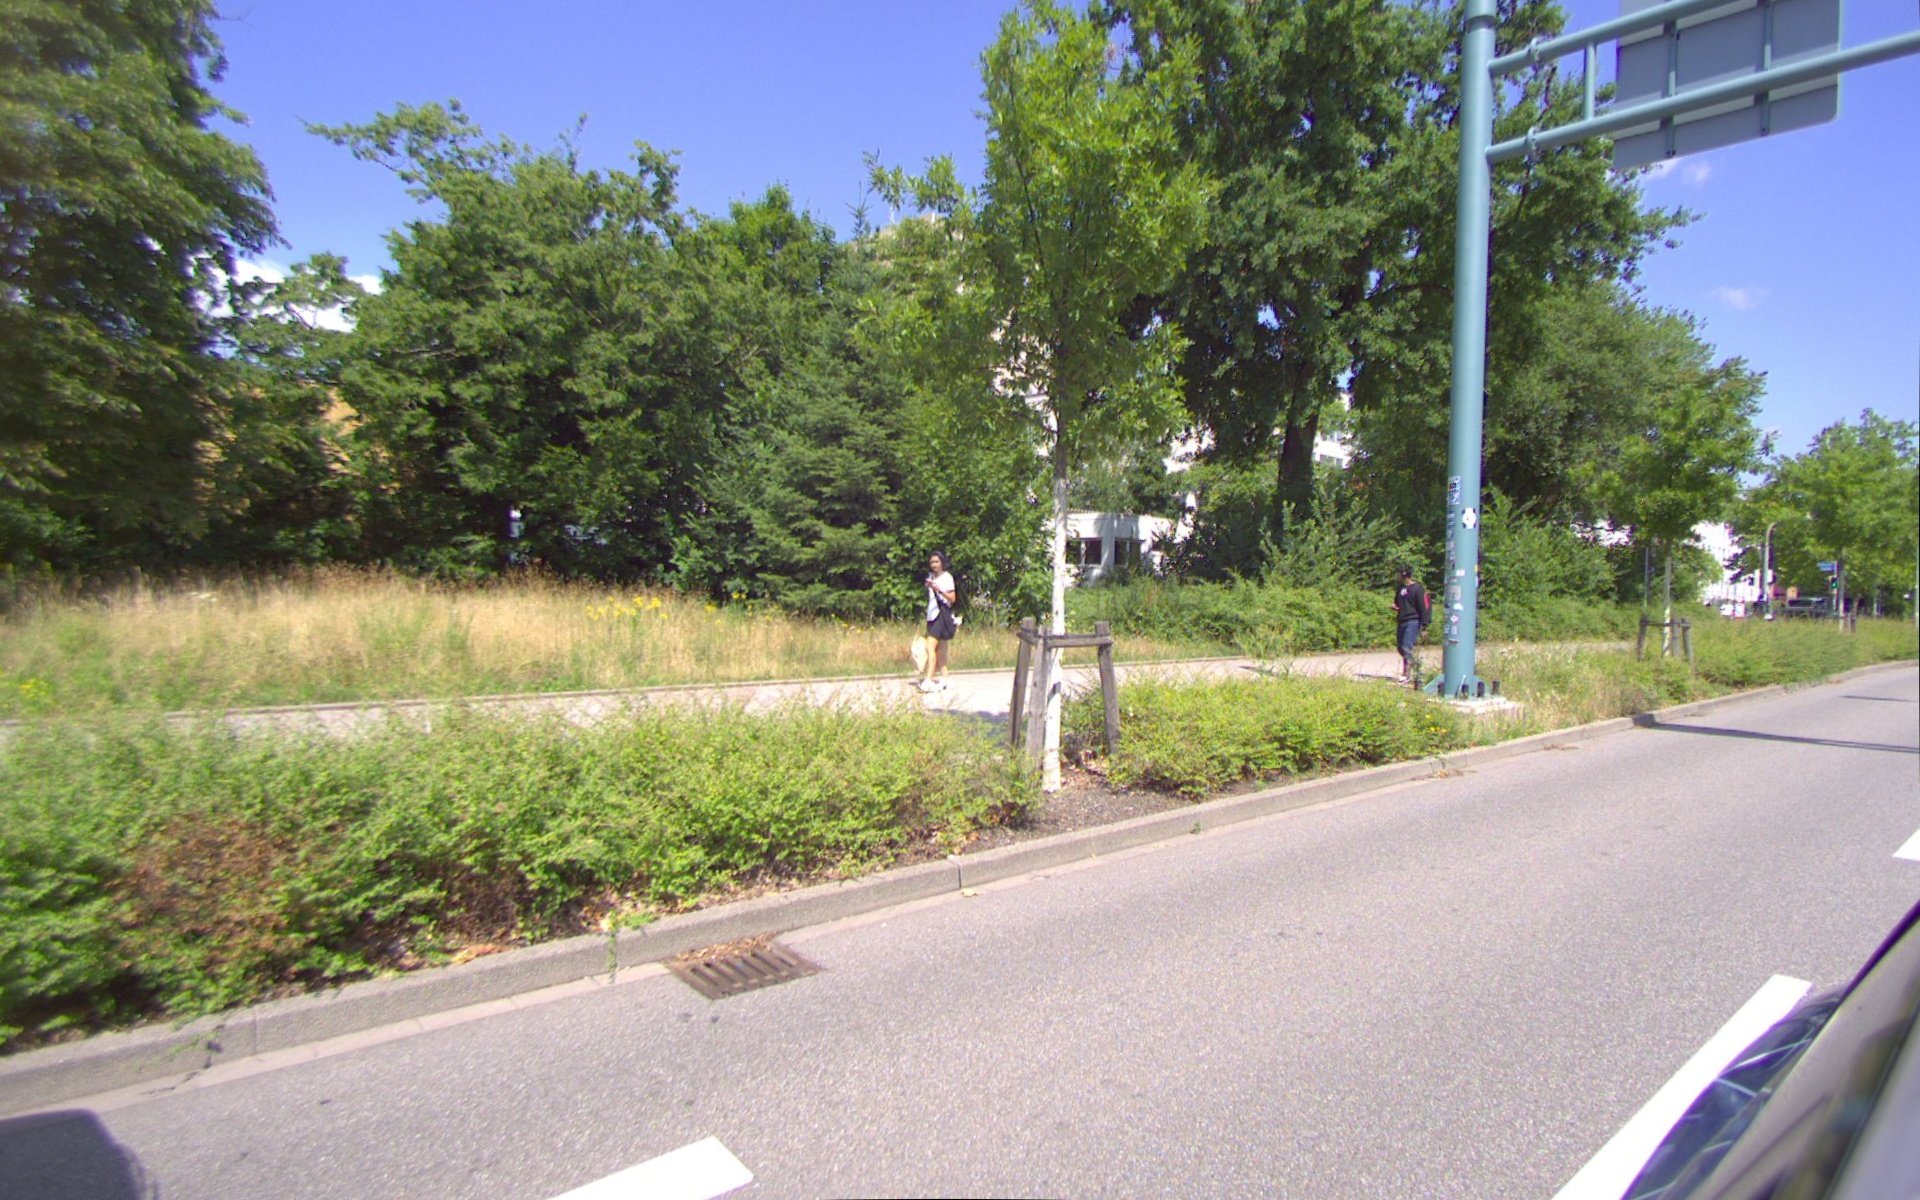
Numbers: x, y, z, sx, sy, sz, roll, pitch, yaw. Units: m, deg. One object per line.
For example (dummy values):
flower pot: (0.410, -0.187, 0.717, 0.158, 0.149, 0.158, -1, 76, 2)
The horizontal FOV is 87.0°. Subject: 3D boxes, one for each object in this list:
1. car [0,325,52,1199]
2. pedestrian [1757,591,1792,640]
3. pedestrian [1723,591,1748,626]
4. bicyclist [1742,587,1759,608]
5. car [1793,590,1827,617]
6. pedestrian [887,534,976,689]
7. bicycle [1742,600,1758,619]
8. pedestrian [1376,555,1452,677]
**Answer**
car: (-3.144, 0.526, 0.215, 4.311, 1.756, 1.815, 1, 0, -41)
pedestrian: (29.888, 0.562, 37.136, 0.913, 1.743, 0.815, 1, 1, -39)
pedestrian: (42.588, 0.445, 55.580, 0.955, 1.896, 0.877, 1, 0, -41)
bicyclist: (56.609, -0.153, 72.467, 0.967, 1.462, 1.061, 1, 1, 39)
car: (67.616, 0.291, 80.530, 1.992, 2.080, 4.166, 2, 1, 41)
pedestrian: (-0.337, 0.124, 11.893, 0.733, 1.743, 0.724, 1, 1, -39)
bicycle: (56.670, 0.676, 72.557, 0.881, 1.267, 2.135, 1, 1, 39)
pedestrian: (6.715, 0.217, 14.963, 0.822, 1.743, 0.718, 1, 1, -39)
